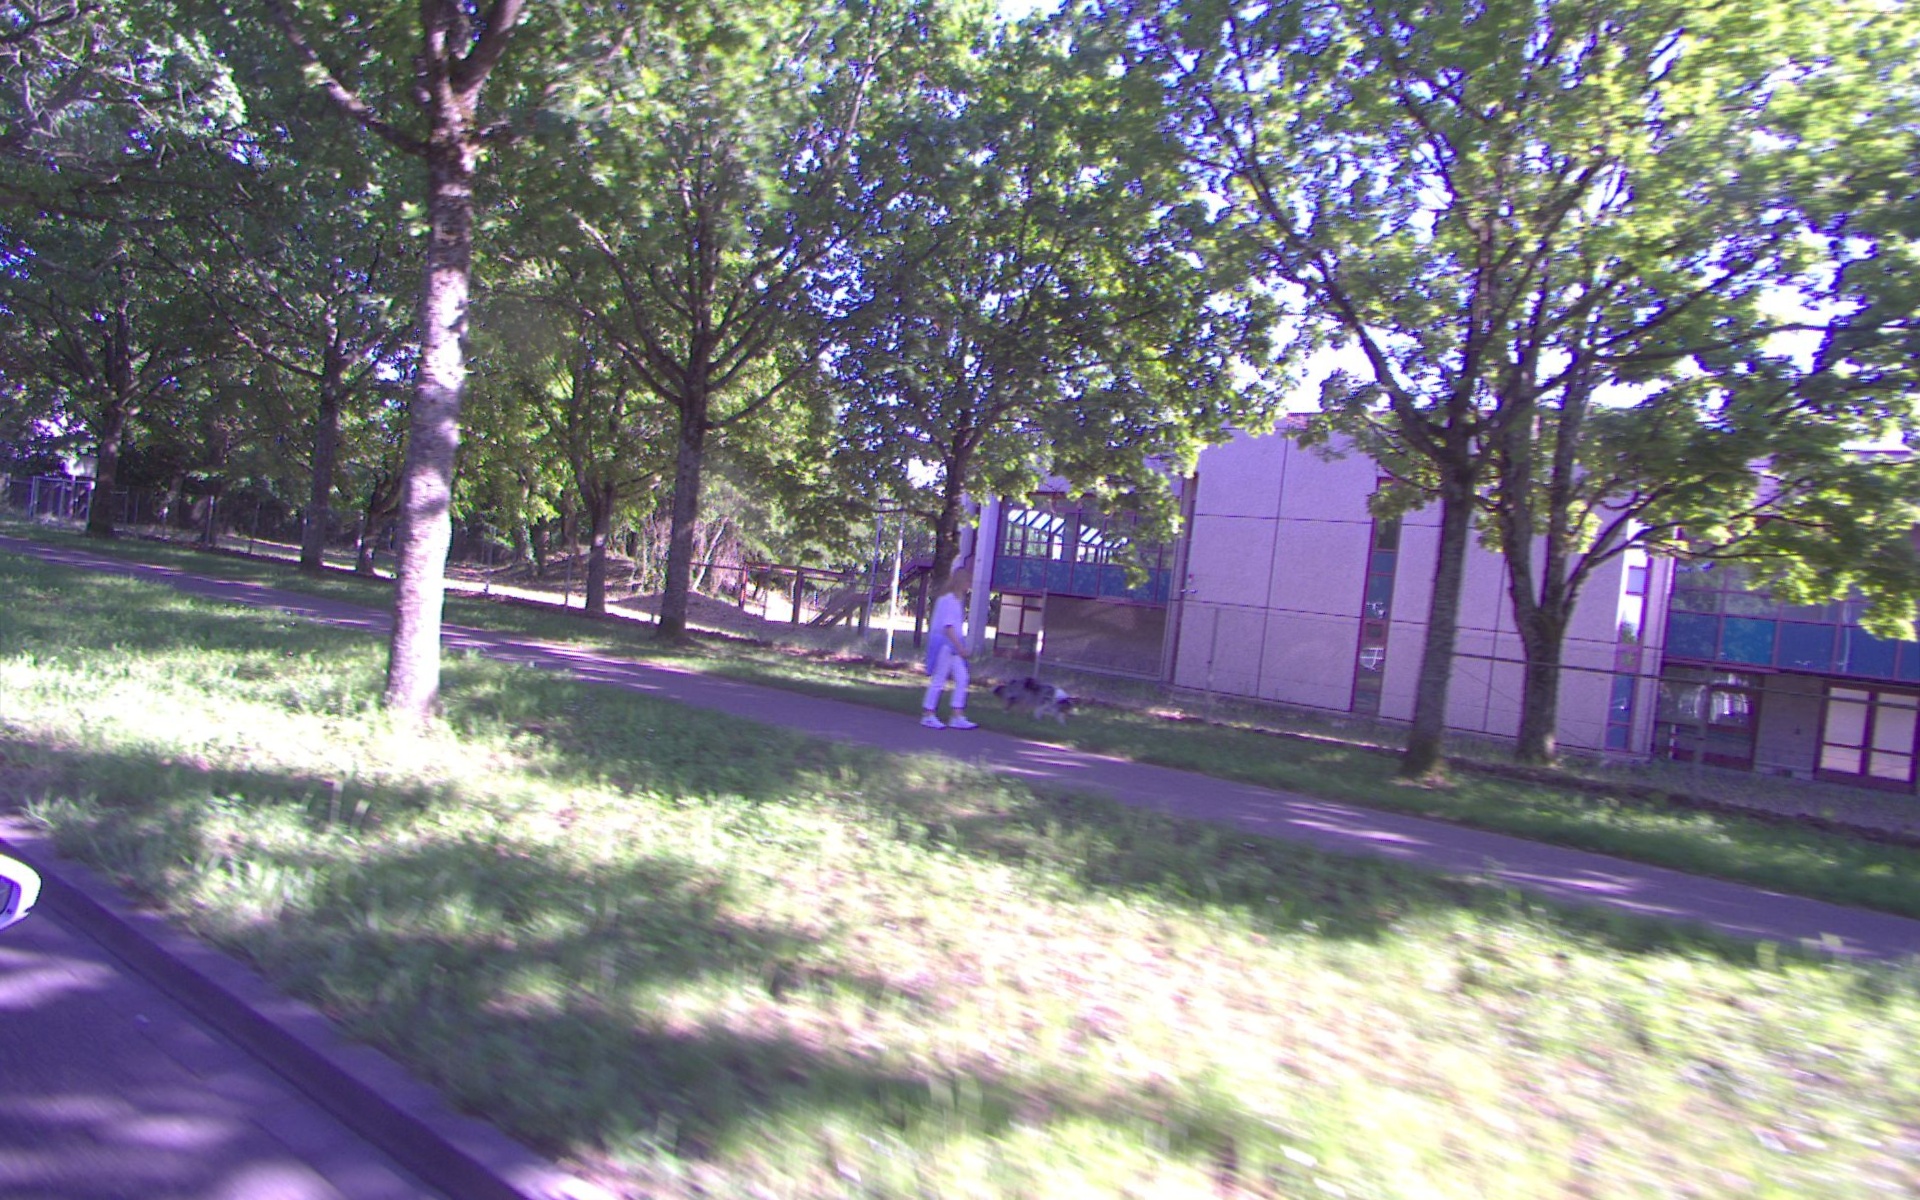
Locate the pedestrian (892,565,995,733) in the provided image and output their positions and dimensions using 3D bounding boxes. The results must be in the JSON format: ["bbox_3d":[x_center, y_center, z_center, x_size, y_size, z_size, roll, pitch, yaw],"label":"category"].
[{"bbox_3d":[-0.172,0.501,10.621,0.707,1.653,0.607,8,3,33],"label":"pedestrian"}]
